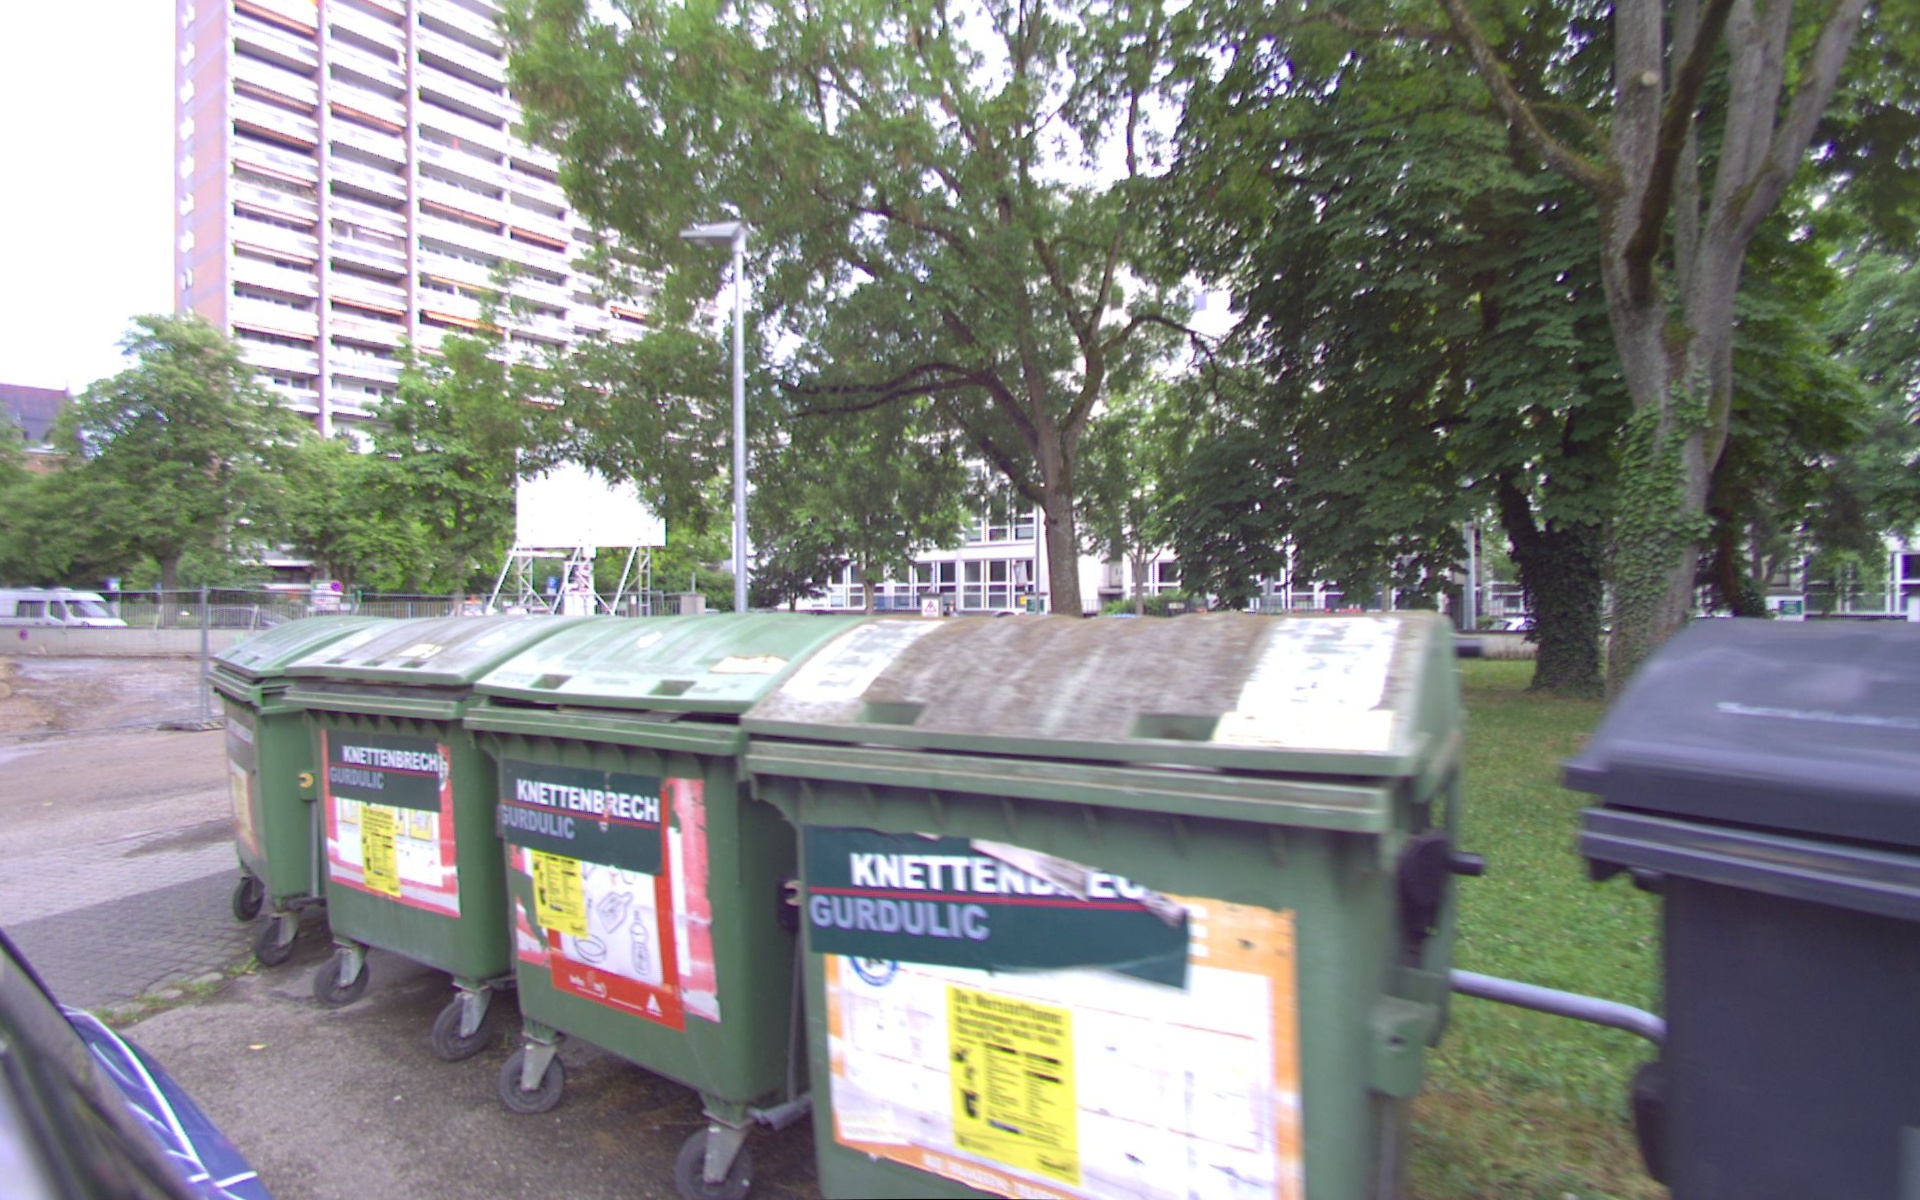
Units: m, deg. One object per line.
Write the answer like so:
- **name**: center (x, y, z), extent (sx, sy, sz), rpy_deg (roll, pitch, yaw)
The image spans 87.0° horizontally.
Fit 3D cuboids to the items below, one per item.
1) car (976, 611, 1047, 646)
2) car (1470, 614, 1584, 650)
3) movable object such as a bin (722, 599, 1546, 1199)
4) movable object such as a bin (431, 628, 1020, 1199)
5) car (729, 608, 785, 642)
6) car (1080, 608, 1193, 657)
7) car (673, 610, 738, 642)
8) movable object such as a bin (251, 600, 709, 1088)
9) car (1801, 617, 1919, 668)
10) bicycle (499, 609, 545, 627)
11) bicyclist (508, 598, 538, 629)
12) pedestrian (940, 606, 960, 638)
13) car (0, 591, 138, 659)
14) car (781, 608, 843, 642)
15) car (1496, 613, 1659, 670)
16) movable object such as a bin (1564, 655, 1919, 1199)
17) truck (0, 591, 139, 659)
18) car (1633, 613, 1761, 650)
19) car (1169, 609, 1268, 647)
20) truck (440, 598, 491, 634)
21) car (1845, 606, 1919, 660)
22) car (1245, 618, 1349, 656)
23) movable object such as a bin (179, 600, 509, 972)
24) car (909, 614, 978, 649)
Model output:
- **car**: center (2.401, 1.300, 48.289), extent (1.670, 1.495, 4.042), rpy_deg (-1, 1, -25)
- **car**: center (24.379, 1.355, 43.621), extent (1.671, 1.362, 3.979), rpy_deg (-1, 1, -33)
- **movable object such as a bin**: center (0.388, 0.646, 2.032), extent (1.349, 1.274, 1.045), rpy_deg (-1, -1, 31)
- **movable object such as a bin**: center (-0.671, 0.732, 2.956), extent (1.350, 1.274, 1.044), rpy_deg (-1, -1, 34)
- **car**: center (-10.211, 1.230, 50.778), extent (1.546, 1.535, 3.662), rpy_deg (-1, 1, -32)
- **car**: center (5.507, 1.001, 31.612), extent (3.397, 1.472, 1.673), rpy_deg (0, -2, 12)
- **car**: center (-13.143, 1.310, 52.004), extent (1.774, 1.476, 4.443), rpy_deg (0, 0, -35)
- **movable object such as a bin**: center (-1.820, 0.737, 3.862), extent (1.350, 1.467, 1.044), rpy_deg (0, 0, 34)
- **car**: center (24.820, 1.124, 27.105), extent (3.143, 1.312, 1.509), rpy_deg (-1, -1, 10)
- **bicycle**: center (-21.323, 0.892, 49.294), extent (2.114, 0.875, 0.469), rpy_deg (0, -1, 9)
- **bicyclist**: center (-21.274, 0.656, 49.266), extent (1.016, 1.512, 0.843), rpy_deg (0, -1, 10)
- **pedestrian**: center (-0.516, 1.130, 52.584), extent (0.753, 1.623, 0.726), rpy_deg (2, 2, 33)
- **car**: center (-36.237, 0.960, 40.660), extent (5.435, 2.622, 2.111), rpy_deg (0, 0, 12)
- **car**: center (-7.354, 1.209, 50.046), extent (1.671, 1.535, 3.717), rpy_deg (-1, 1, -32)
- **car**: center (17.038, 1.124, 28.065), extent (3.528, 1.492, 1.475), rpy_deg (0, 1, 12)
- **movable object such as a bin**: center (1.569, 0.732, 1.022), extent (1.039, 1.274, 1.357), rpy_deg (0, -1, -38)
- **truck**: center (-36.215, 0.960, 40.655), extent (5.435, 2.622, 2.111), rpy_deg (0, 0, 12)
- **car**: center (30.518, 1.256, 41.995), extent (1.671, 1.362, 3.979), rpy_deg (-1, 1, -33)
- **car**: center (11.790, 1.231, 46.378), extent (1.672, 1.567, 4.357), rpy_deg (-1, 1, -36)
- **truck**: center (-27.039, 0.850, 55.293), extent (1.966, 1.862, 5.079), rpy_deg (0, 0, -32)
- **car**: center (38.016, 1.294, 40.086), extent (1.966, 2.029, 4.011), rpy_deg (0, 0, -14)
- **car**: center (15.005, 1.613, 45.287), extent (1.671, 1.465, 4.359), rpy_deg (-1, 1, -33)
- **movable object such as a bin**: center (-2.969, 0.736, 4.855), extent (1.355, 1.461, 1.041), rpy_deg (0, 0, 43)
- **car**: center (-0.852, 1.498, 49.223), extent (1.671, 1.535, 3.717), rpy_deg (-1, 1, -32)
